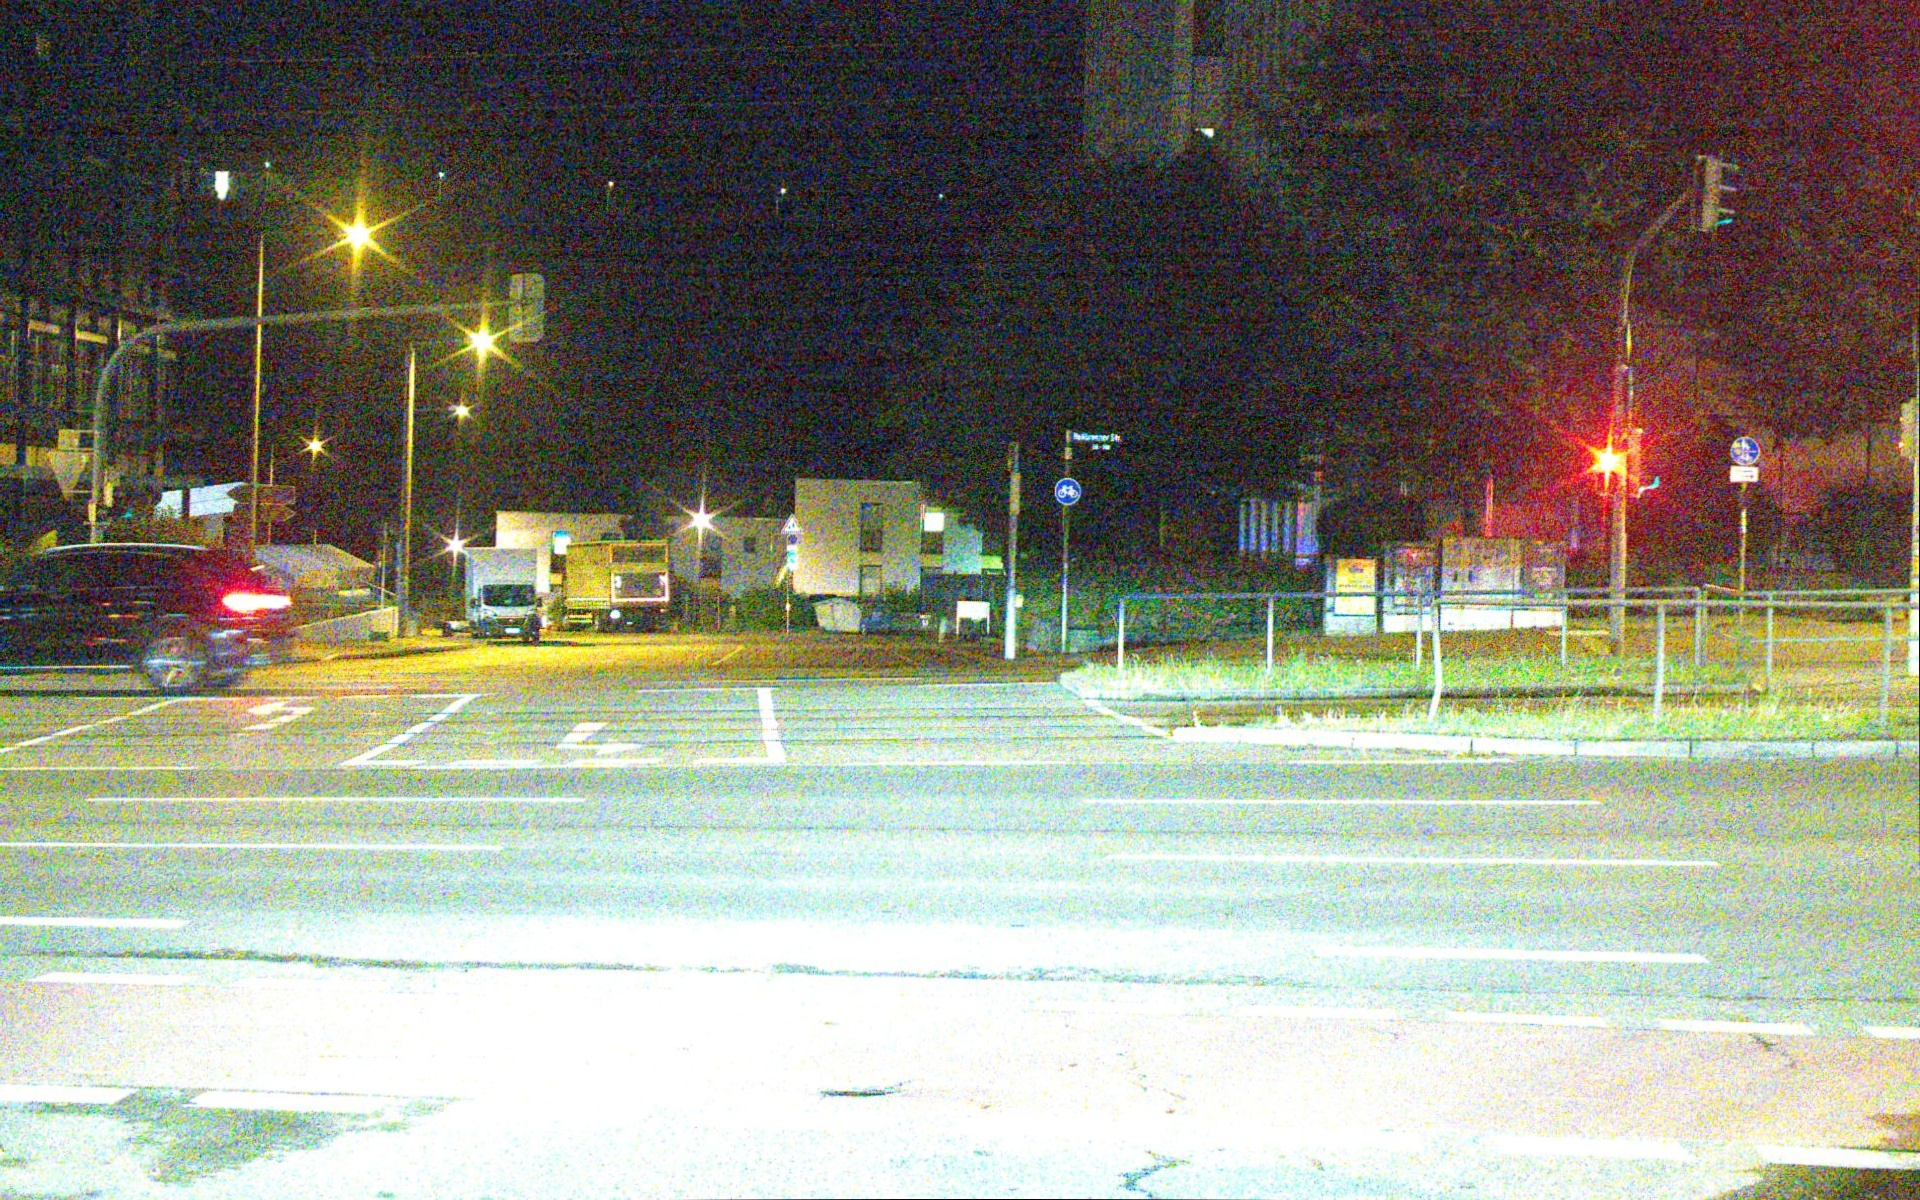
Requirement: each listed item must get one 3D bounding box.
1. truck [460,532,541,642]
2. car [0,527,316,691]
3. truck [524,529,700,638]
[{"bbox_3d":[-15.976,-0.471,119.216,2.582,3.694,5.739,1,1,-9],"label":"truck"},{"bbox_3d":[-9.648,0.074,37.981,4.618,1.722,2.000,1,0,3],"label":"car"},{"bbox_3d":[-15.445,-0.763,151.236,4.821,4.531,12.669,1,1,-19],"label":"truck"}]
